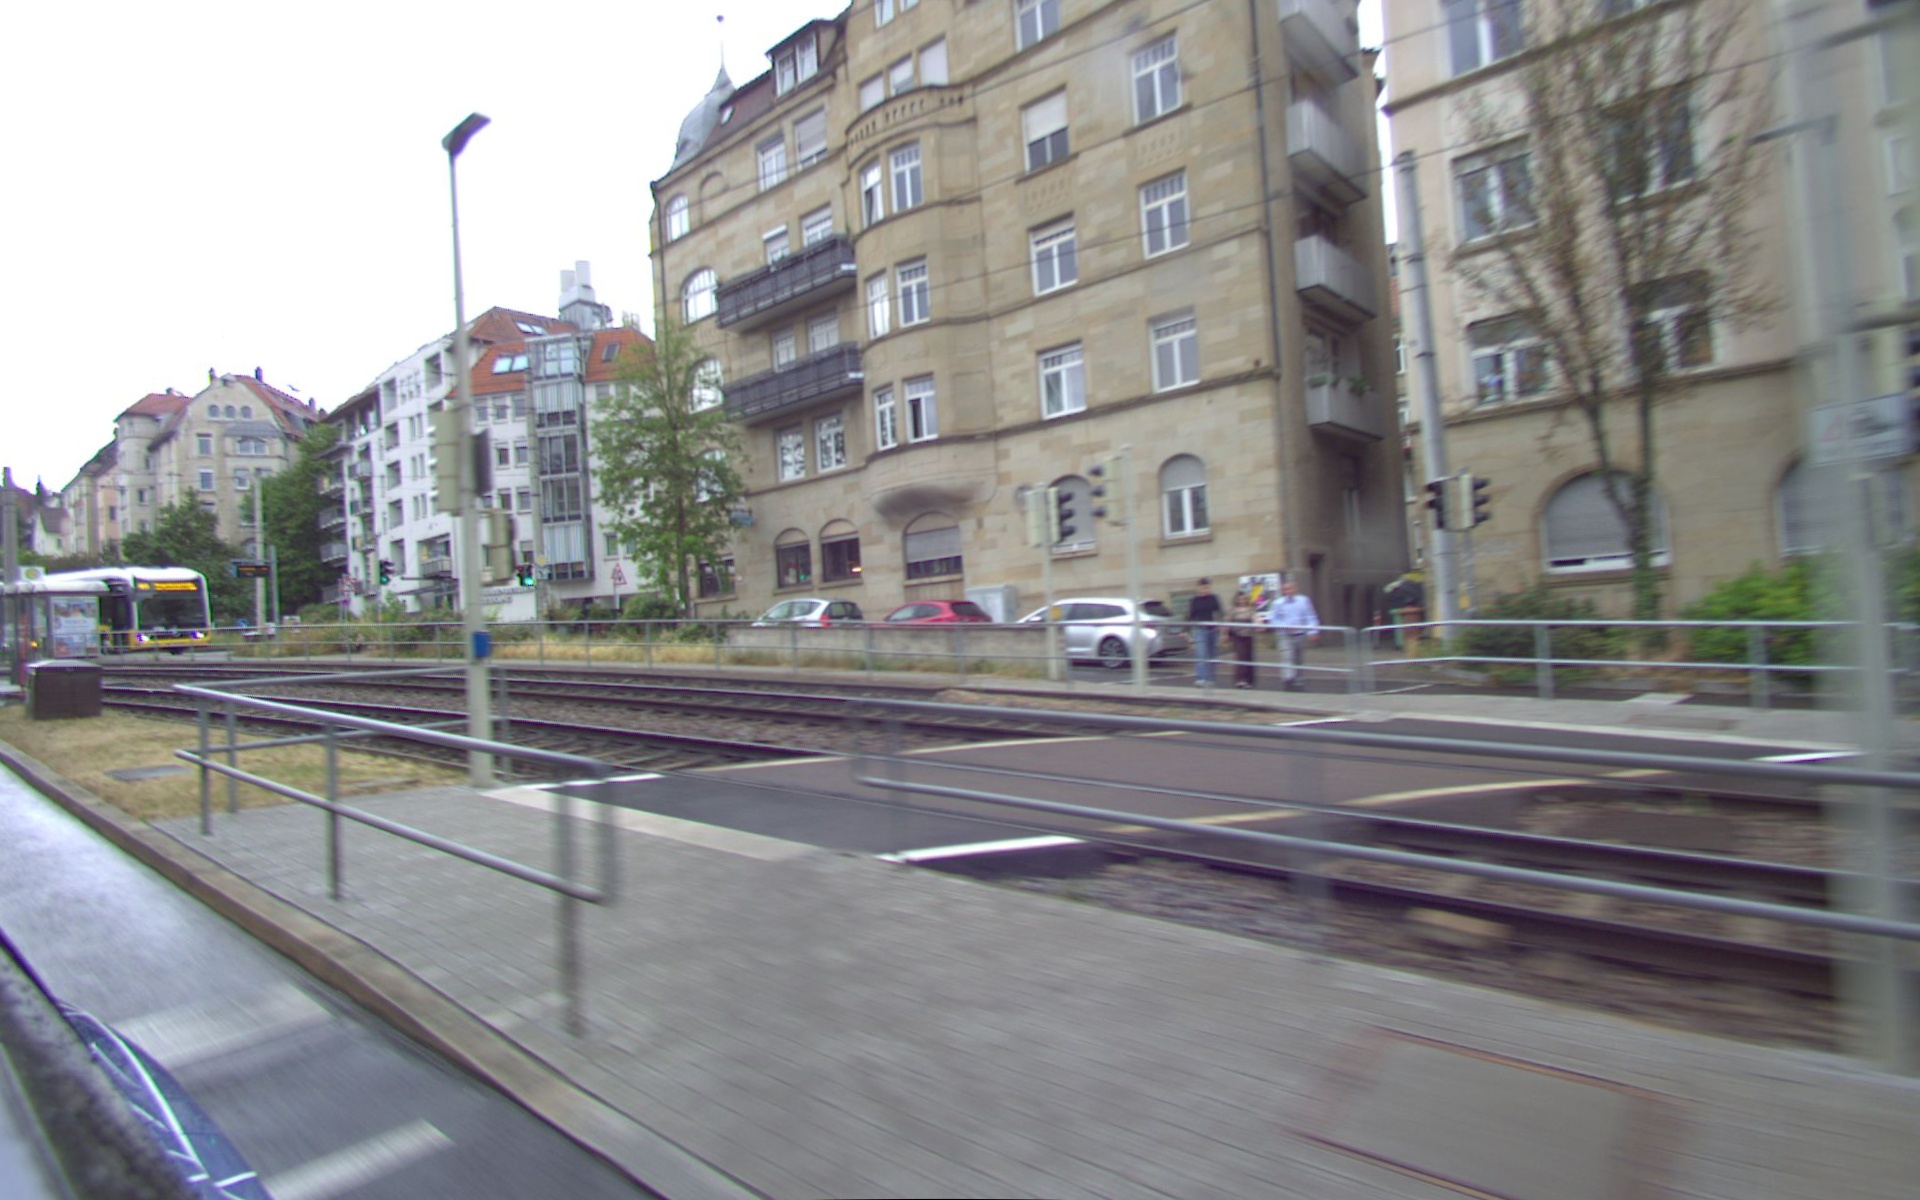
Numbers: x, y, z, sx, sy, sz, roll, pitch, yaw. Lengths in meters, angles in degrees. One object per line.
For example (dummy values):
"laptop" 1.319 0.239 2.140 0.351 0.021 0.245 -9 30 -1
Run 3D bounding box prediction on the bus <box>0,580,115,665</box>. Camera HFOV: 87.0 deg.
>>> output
"bus" -40.915 1.041 44.973 9.078 3.495 2.570 -2 -1 33

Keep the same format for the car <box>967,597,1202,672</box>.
"car" 2.580 0.731 21.762 4.864 1.453 1.700 -2 -1 40

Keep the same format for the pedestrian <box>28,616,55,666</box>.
"pedestrian" -32.472 1.446 35.768 0.541 1.765 0.572 -2 -1 29

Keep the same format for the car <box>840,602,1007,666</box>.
"car" -0.984 0.836 25.209 4.172 1.453 1.613 -2 -1 41

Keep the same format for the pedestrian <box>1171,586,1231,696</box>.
"pedestrian" 3.615 0.599 15.156 0.620 1.605 0.618 -2 -1 42

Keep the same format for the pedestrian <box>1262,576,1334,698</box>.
"pedestrian" 4.889 0.522 14.627 0.728 1.713 0.712 -2 -1 42

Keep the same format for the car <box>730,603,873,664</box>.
"car" -4.462 0.929 28.166 4.172 1.559 1.614 -2 -1 41

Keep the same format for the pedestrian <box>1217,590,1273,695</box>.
"pedestrian" 4.306 0.630 15.303 0.620 1.543 0.515 -2 -1 42
